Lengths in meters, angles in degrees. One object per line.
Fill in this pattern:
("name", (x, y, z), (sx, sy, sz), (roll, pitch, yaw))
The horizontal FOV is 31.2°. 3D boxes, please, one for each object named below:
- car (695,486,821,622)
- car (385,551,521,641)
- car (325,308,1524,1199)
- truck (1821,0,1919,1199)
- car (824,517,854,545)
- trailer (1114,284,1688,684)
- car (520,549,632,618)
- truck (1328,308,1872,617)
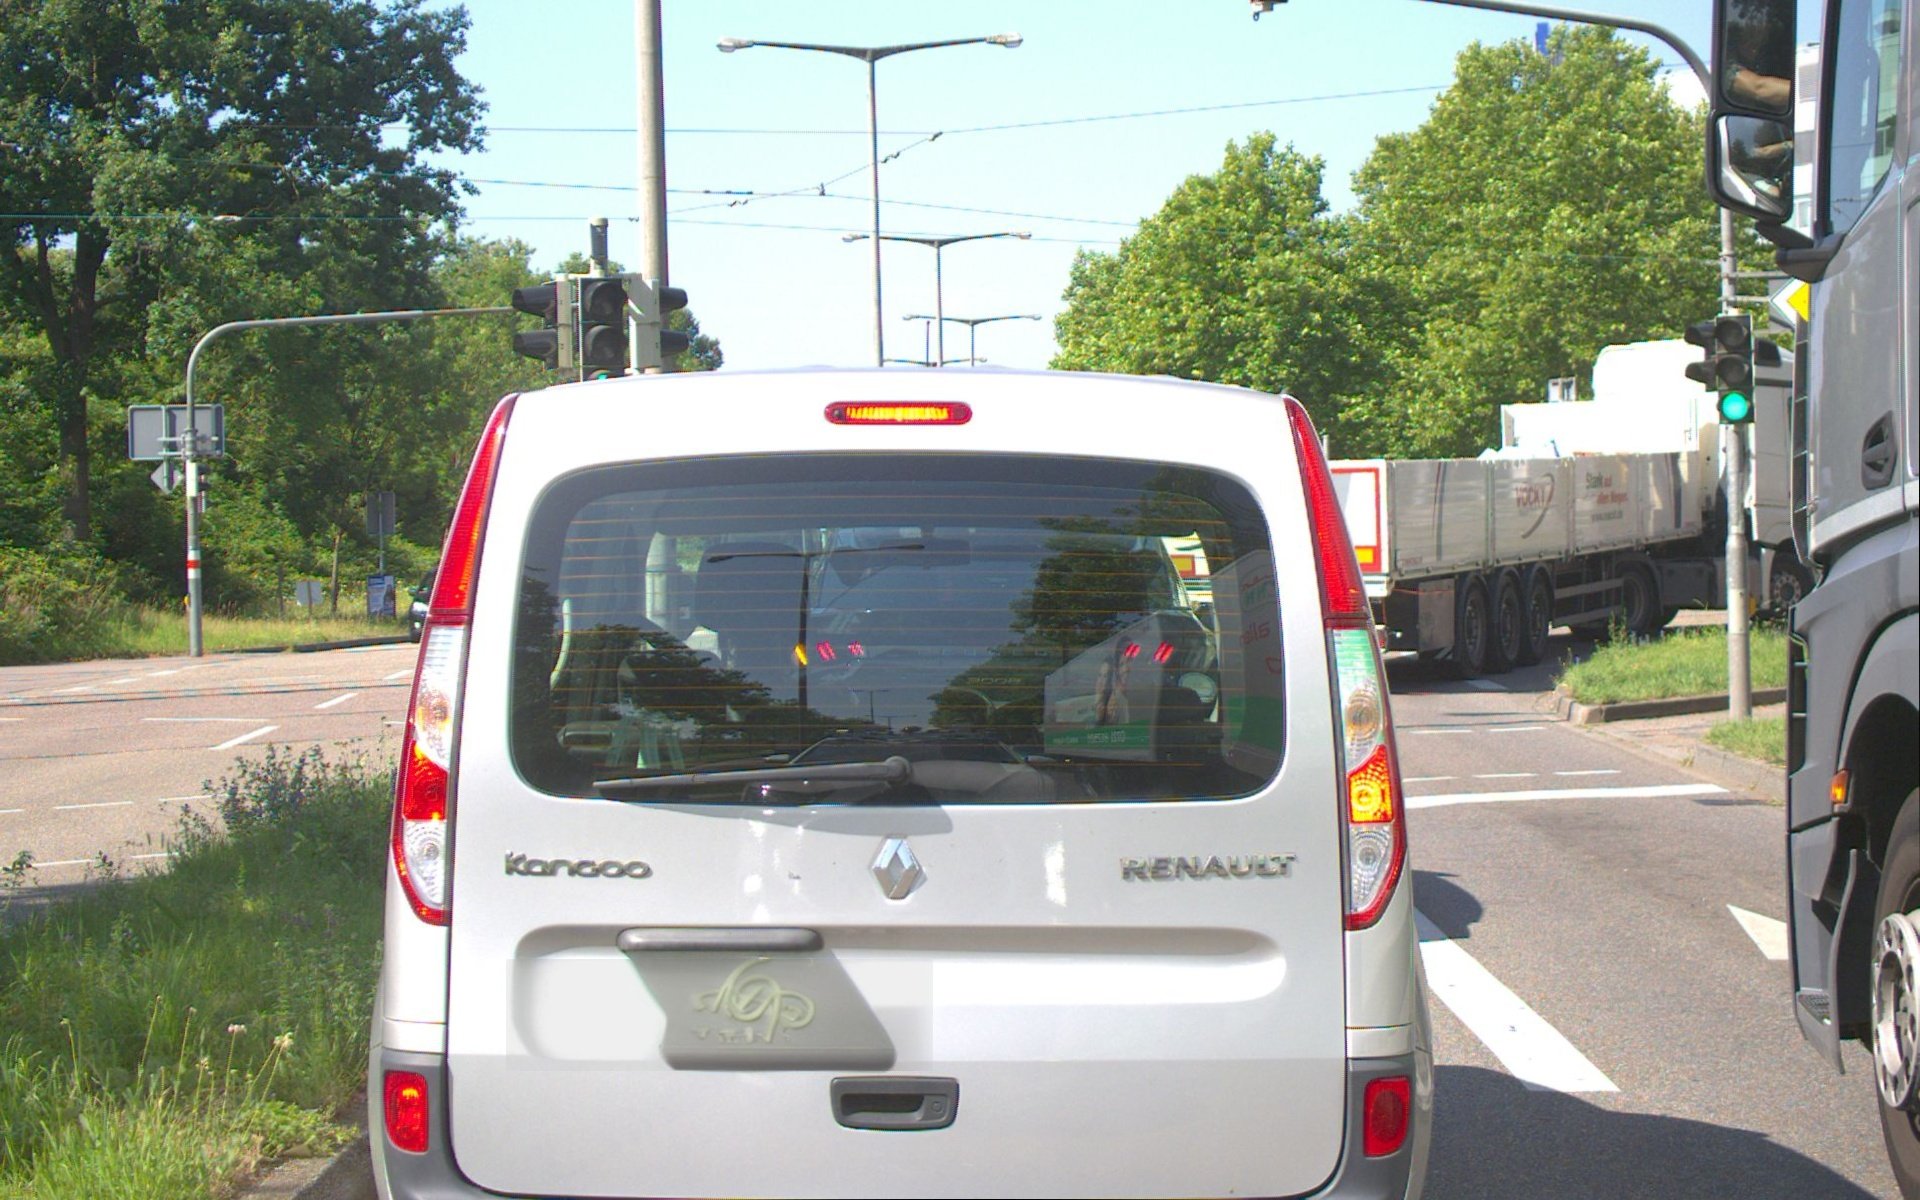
("car", (-4.042, -0.917, 69.666), (1.994, 2.598, 5.133), (-1, 0, 2))
("car", (-9.750, -0.086, 66.363), (1.911, 1.636, 3.737), (-1, 0, 2))
("car", (-0.079, 0.469, 7.181), (1.786, 1.831, 4.000), (1, 1, -1))
("truck", (3.207, -0.551, 3.511), (2.729, 3.876, 8.722), (0, 0, 2))
("car", (-8.744, -4.990, 249.077), (1.888, 2.007, 4.000), (1, 1, 2))
("trailer", (5.246, -1.094, 37.463), (2.903, 3.610, 12.670), (1, 1, 23))
("car", (-9.047, -0.409, 81.327), (1.994, 1.535, 4.236), (-1, 0, 2))
("truck", (8.269, -1.637, 43.928), (7.168, 3.630, 2.919), (0, 1, -40))
